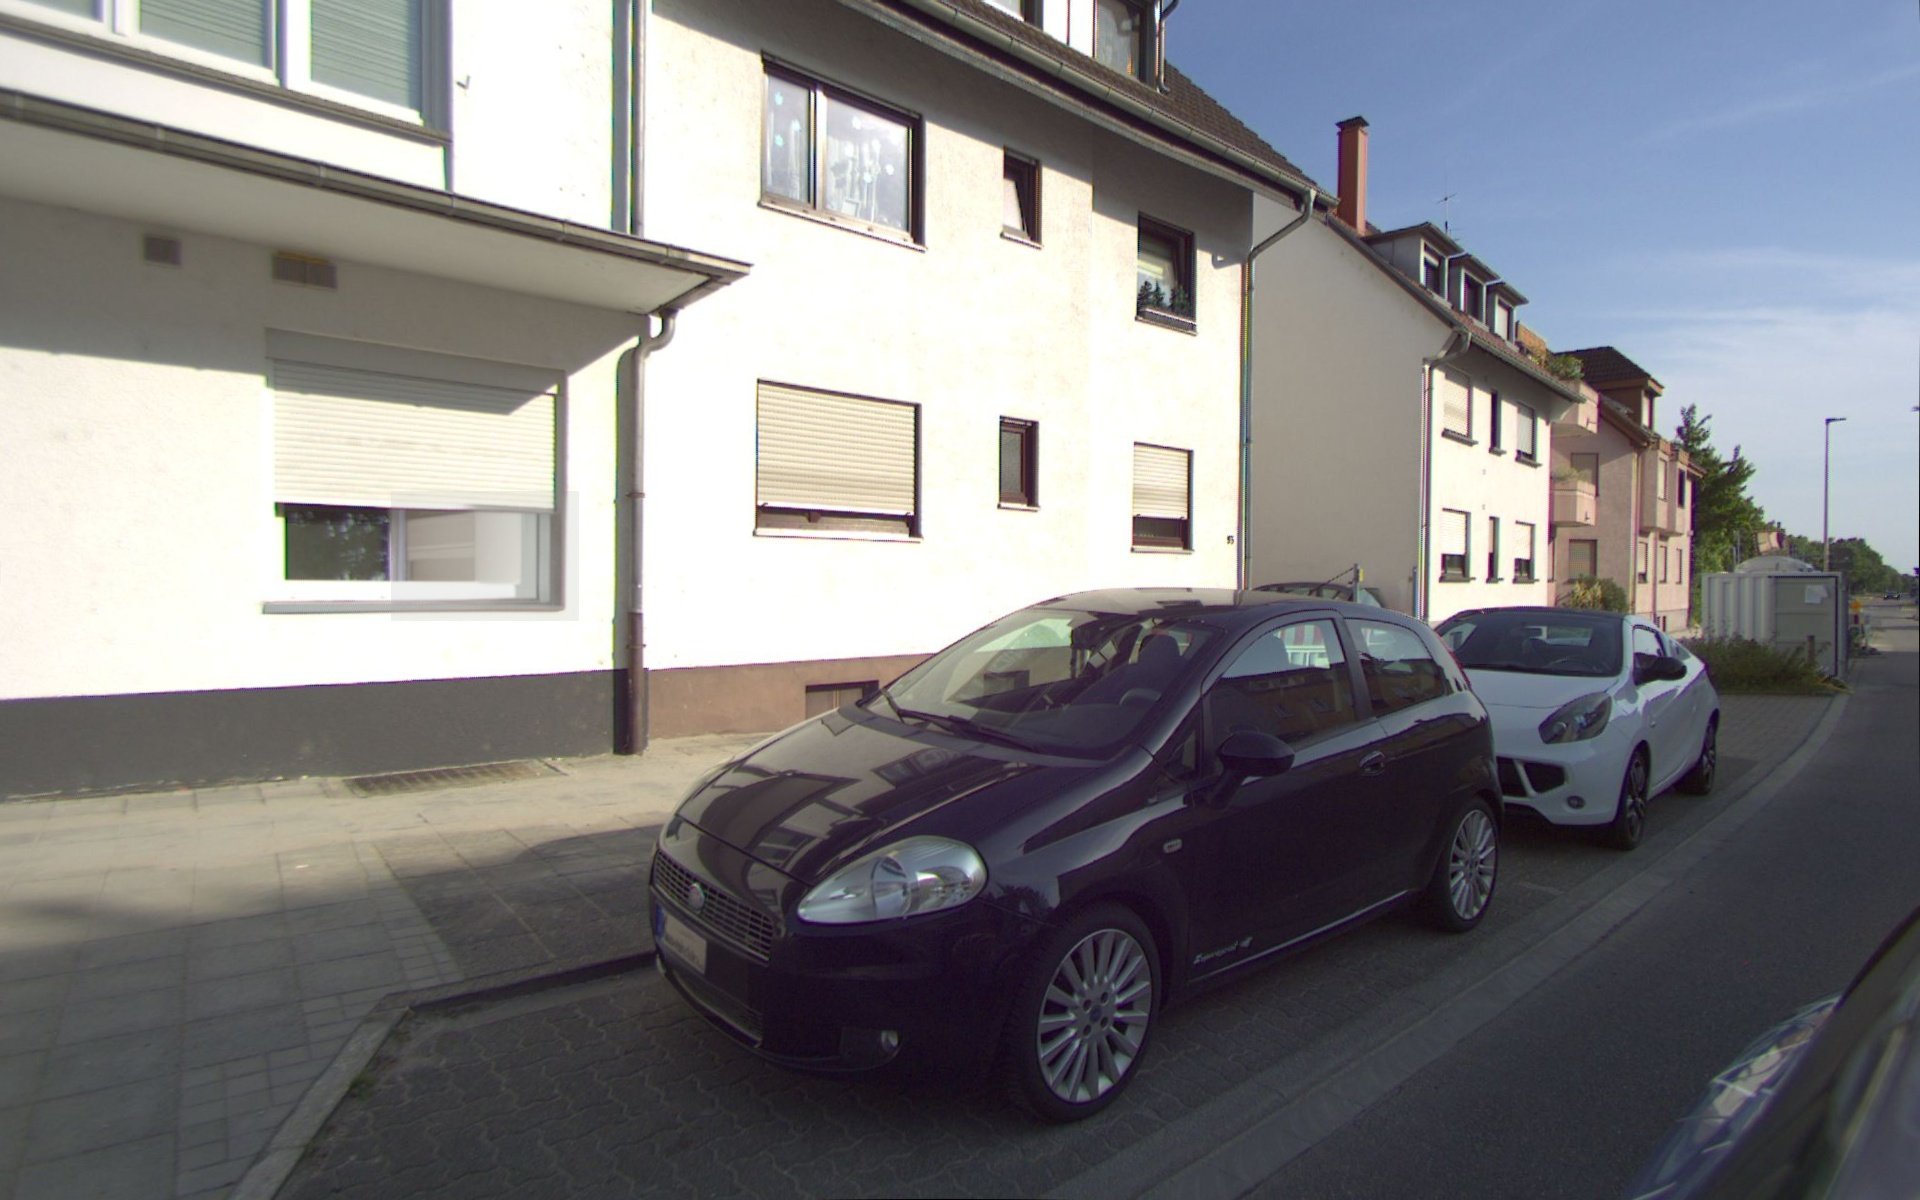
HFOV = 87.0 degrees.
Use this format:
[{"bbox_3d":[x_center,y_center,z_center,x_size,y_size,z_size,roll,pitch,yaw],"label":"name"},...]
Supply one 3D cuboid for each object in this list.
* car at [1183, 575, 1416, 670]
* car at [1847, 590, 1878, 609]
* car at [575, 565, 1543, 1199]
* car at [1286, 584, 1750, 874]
[{"bbox_3d":[6.240,0.354,18.854,1.765,1.586,3.744,0,1,-43],"label":"car"},{"bbox_3d":[76.470,-0.073,85.755,1.791,1.459,3.937,4,3,44],"label":"car"},{"bbox_3d":[0.686,0.619,4.041,3.851,1.438,1.611,-1,3,-40],"label":"car"},{"bbox_3d":[4.181,0.623,7.227,4.263,1.415,1.717,-1,3,-44],"label":"car"}]
